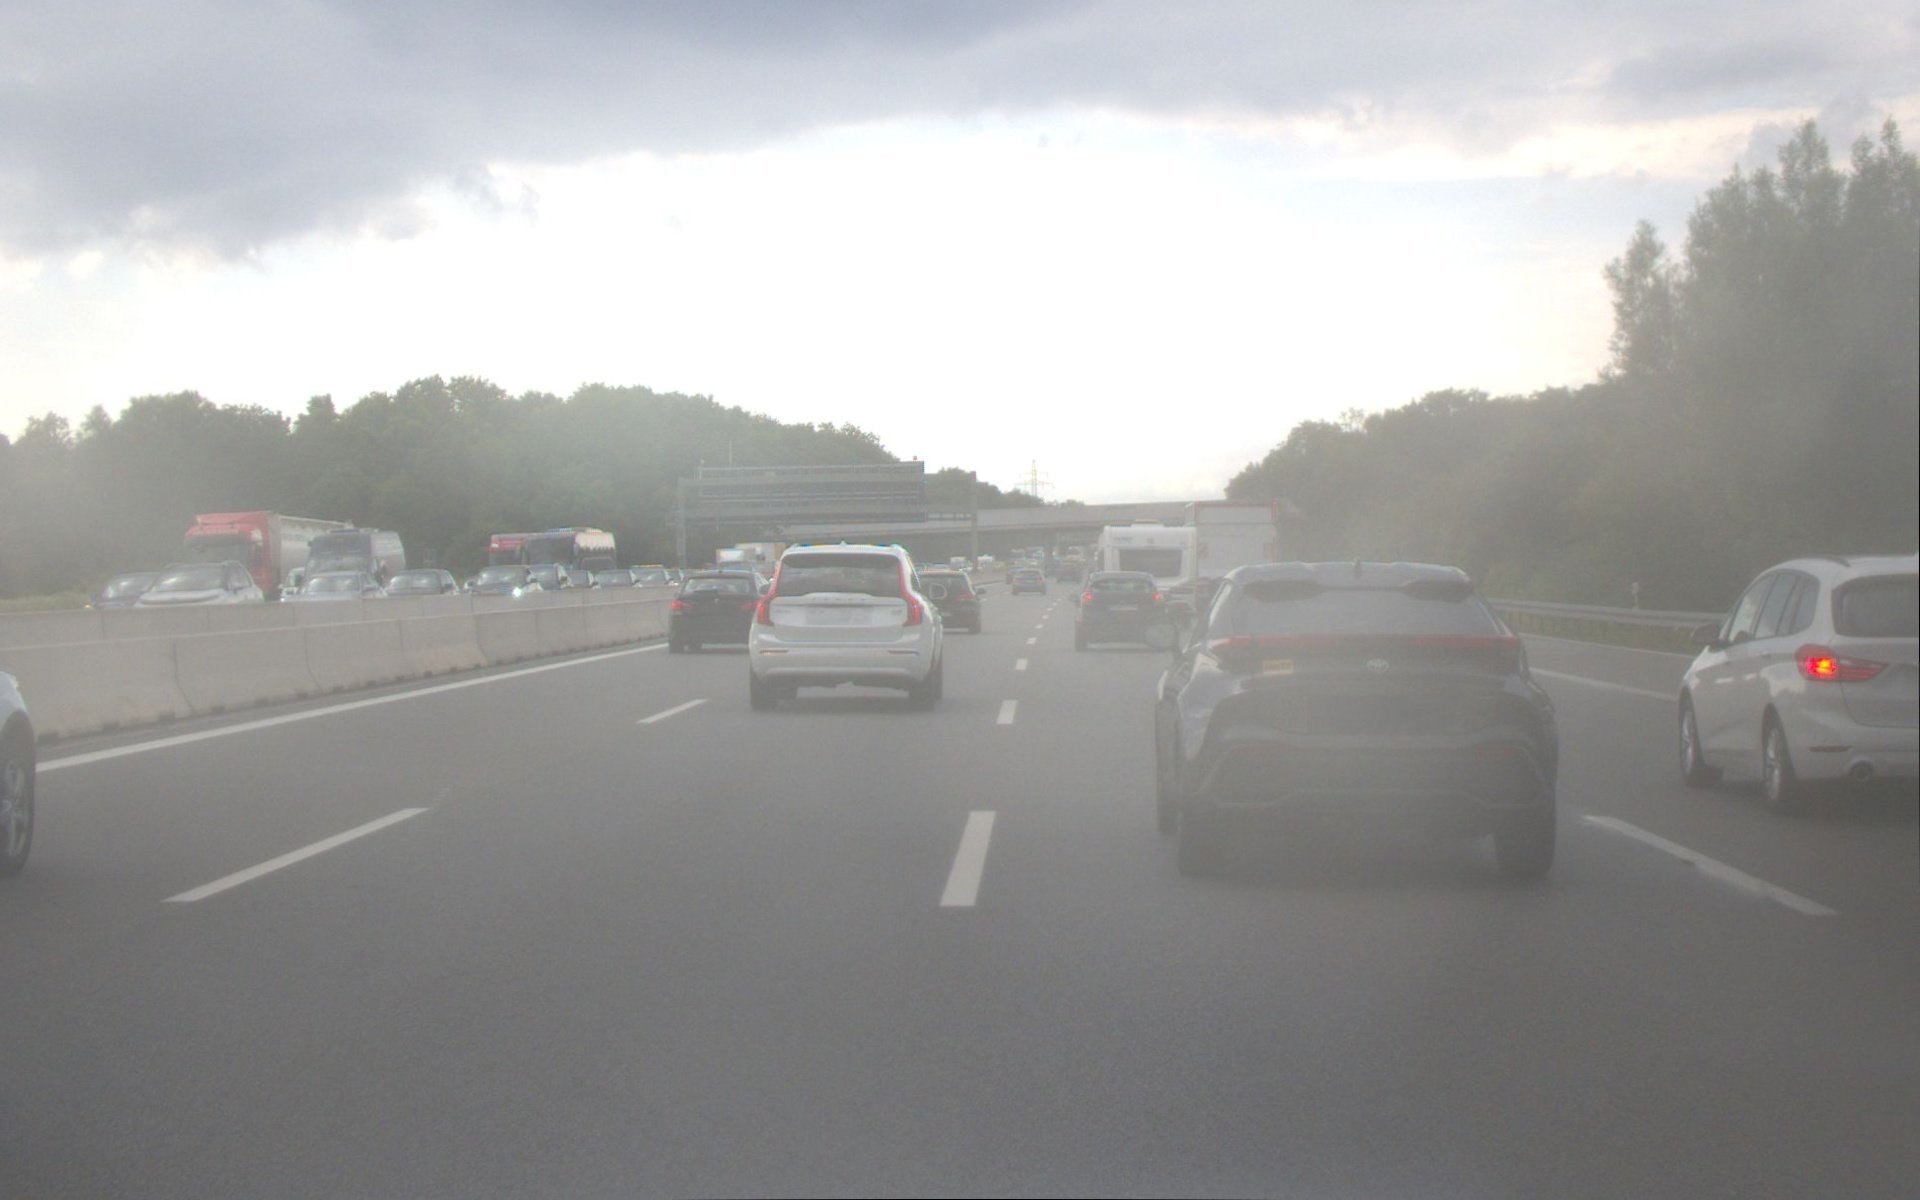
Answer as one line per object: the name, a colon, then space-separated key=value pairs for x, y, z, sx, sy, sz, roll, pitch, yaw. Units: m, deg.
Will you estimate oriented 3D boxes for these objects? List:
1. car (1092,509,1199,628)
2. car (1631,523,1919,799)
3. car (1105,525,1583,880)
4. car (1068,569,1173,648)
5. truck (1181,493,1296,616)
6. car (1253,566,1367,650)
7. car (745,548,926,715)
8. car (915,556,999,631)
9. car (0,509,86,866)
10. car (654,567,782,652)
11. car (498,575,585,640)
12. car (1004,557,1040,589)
car: x=4.619 y=-0.799 z=86.762 sx=2.567 sy=2.885 sz=7.533 roll=0 pitch=1 yaw=2
car: x=5.652 y=0.329 z=22.187 sx=1.810 sy=1.593 sz=4.695 roll=0 pitch=1 yaw=1
car: x=1.841 y=0.442 z=17.902 sx=1.780 sy=1.607 sz=4.598 roll=0 pitch=1 yaw=-2
car: x=2.943 y=0.137 z=63.720 sx=1.885 sy=1.402 sz=4.282 roll=0 pitch=1 yaw=2
truck: x=8.707 y=-1.419 z=108.435 sx=3.133 sy=3.697 sz=9.847 roll=0 pitch=1 yaw=2
car: x=6.277 y=0.118 z=62.007 sx=1.795 sy=1.472 sz=4.037 roll=0 pitch=1 yaw=2
car: x=-1.297 y=0.299 z=37.363 sx=1.781 sy=1.710 sz=4.353 roll=0 pitch=1 yaw=0
car: x=-0.057 y=-0.168 z=79.684 sx=1.881 sy=1.680 sz=4.000 roll=0 pitch=1 yaw=0
car: x=-5.445 y=0.433 z=15.292 sx=1.815 sy=1.684 sz=4.852 roll=0 pitch=1 yaw=1
car: x=-4.338 y=0.140 z=62.135 sx=1.781 sy=1.476 sz=4.352 roll=0 pitch=1 yaw=3
car: x=-13.074 y=0.215 z=107.581 sx=1.994 sy=1.960 sz=4.696 roll=0 pitch=0 yaw=2
car: x=3.344 y=-1.454 z=185.614 sx=1.881 sy=1.680 sz=4.000 roll=0 pitch=1 yaw=0
